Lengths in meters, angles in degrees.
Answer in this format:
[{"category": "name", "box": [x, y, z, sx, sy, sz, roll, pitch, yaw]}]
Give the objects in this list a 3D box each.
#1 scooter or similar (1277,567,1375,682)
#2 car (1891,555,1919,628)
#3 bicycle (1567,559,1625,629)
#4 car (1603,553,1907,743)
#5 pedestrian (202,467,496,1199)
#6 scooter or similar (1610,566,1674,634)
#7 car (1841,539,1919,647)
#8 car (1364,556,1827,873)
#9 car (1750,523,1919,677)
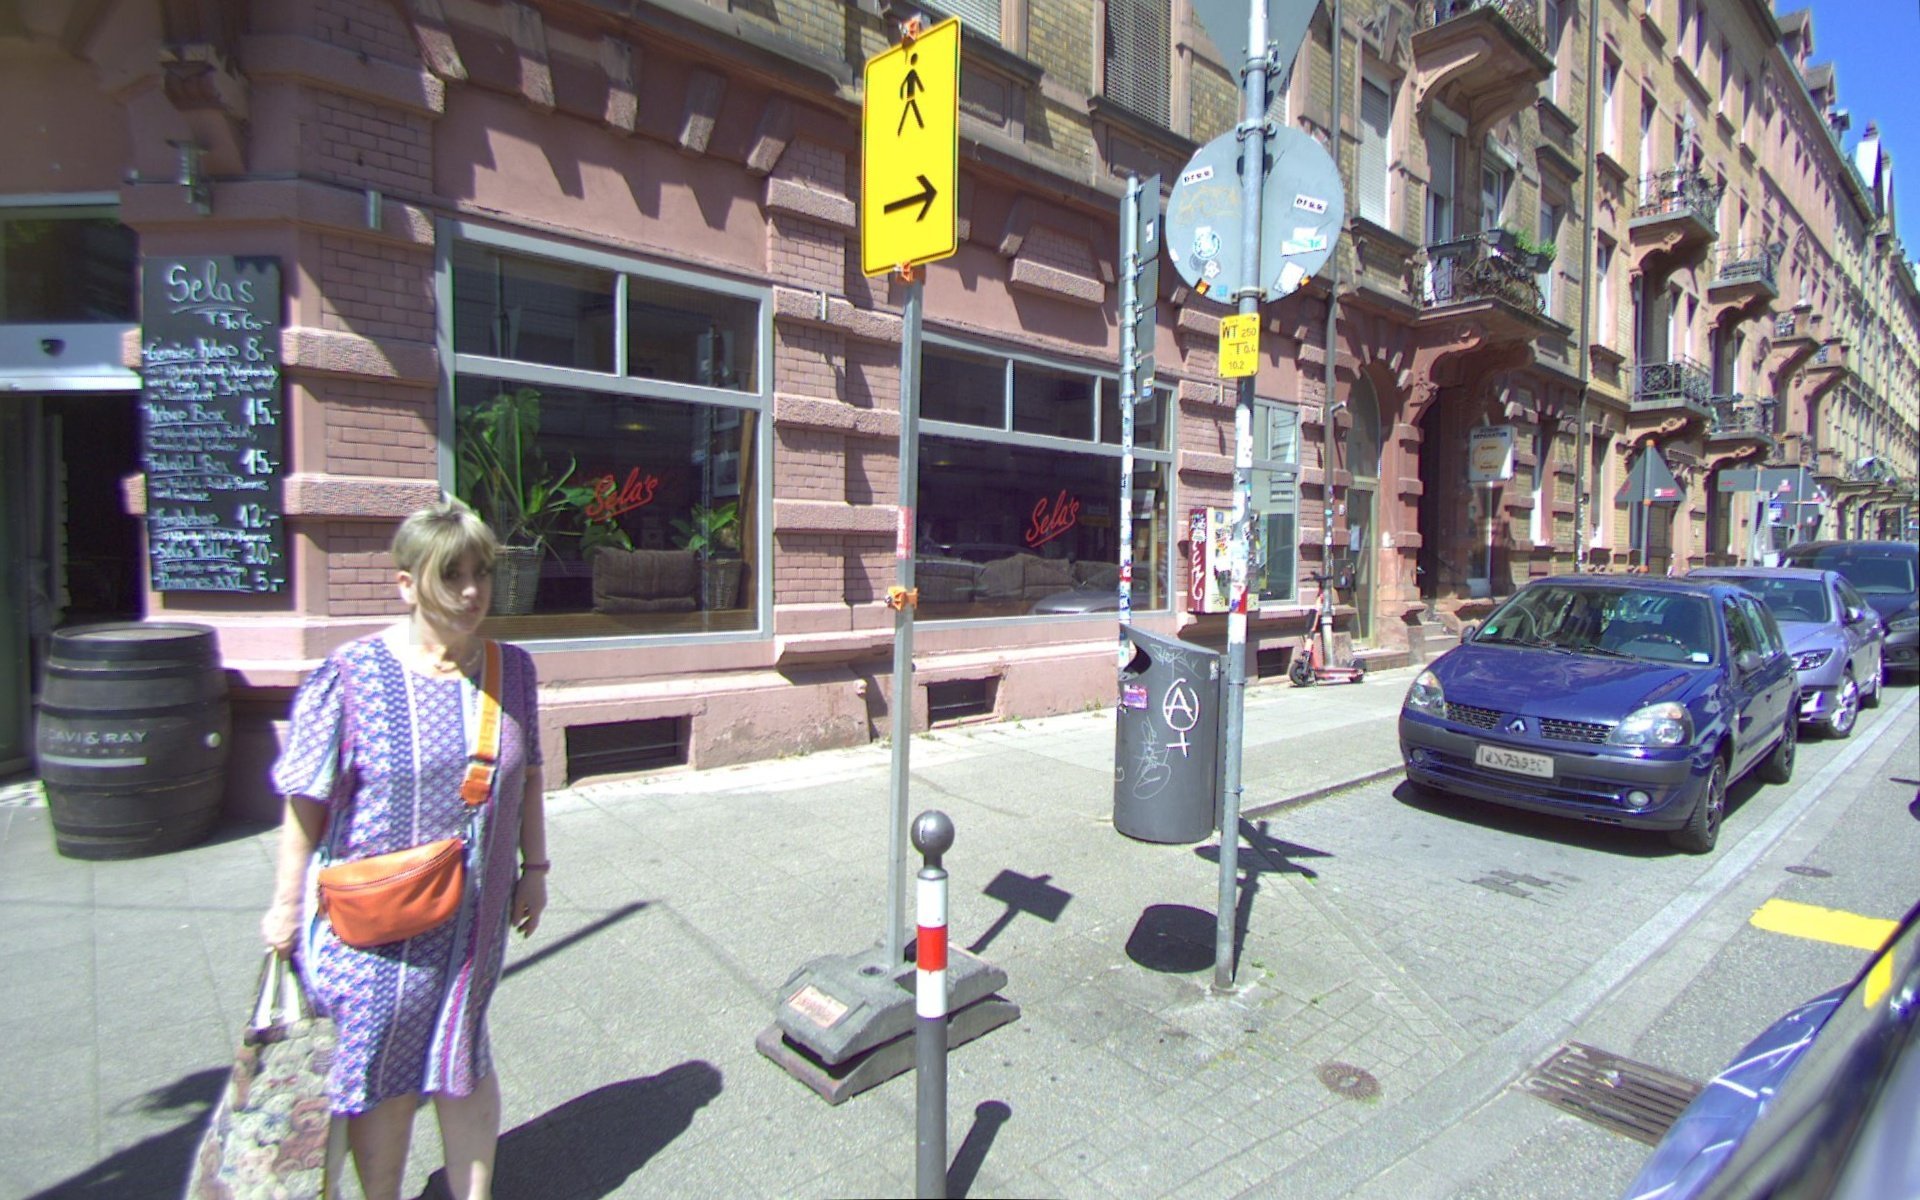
[{"category": "scooter or similar", "box": [3.976, 0.239, 10.957, 1.247, 1.191, 0.294, -1, 2, -32]}, {"category": "car", "box": [20.912, -0.233, 21.402, 1.760, 1.467, 3.847, 1, 2, 42]}, {"category": "bicycle", "box": [10.666, -0.123, 16.942, 1.726, 1.117, 0.354, -2, 3, -42]}, {"category": "car", "box": [8.016, 0.281, 10.037, 4.412, 1.449, 1.727, -2, 4, -44]}, {"category": "pedestrian", "box": [-1.194, 0.543, 1.986, 0.428, 1.561, 0.495, -1, 4, -35]}, {"category": "scooter or similar", "box": [12.455, -0.035, 18.458, 2.113, 1.167, 0.477, -2, 2, -42]}, {"category": "car", "box": [16.917, -0.176, 17.779, 3.932, 1.755, 1.704, -2, 2, -42]}, {"category": "car", "box": [4.244, 0.457, 6.541, 3.599, 1.449, 1.630, -2, 4, -43]}, {"category": "car", "box": [12.218, -0.097, 13.639, 4.267, 1.788, 1.827, -2, 4, -44]}]
